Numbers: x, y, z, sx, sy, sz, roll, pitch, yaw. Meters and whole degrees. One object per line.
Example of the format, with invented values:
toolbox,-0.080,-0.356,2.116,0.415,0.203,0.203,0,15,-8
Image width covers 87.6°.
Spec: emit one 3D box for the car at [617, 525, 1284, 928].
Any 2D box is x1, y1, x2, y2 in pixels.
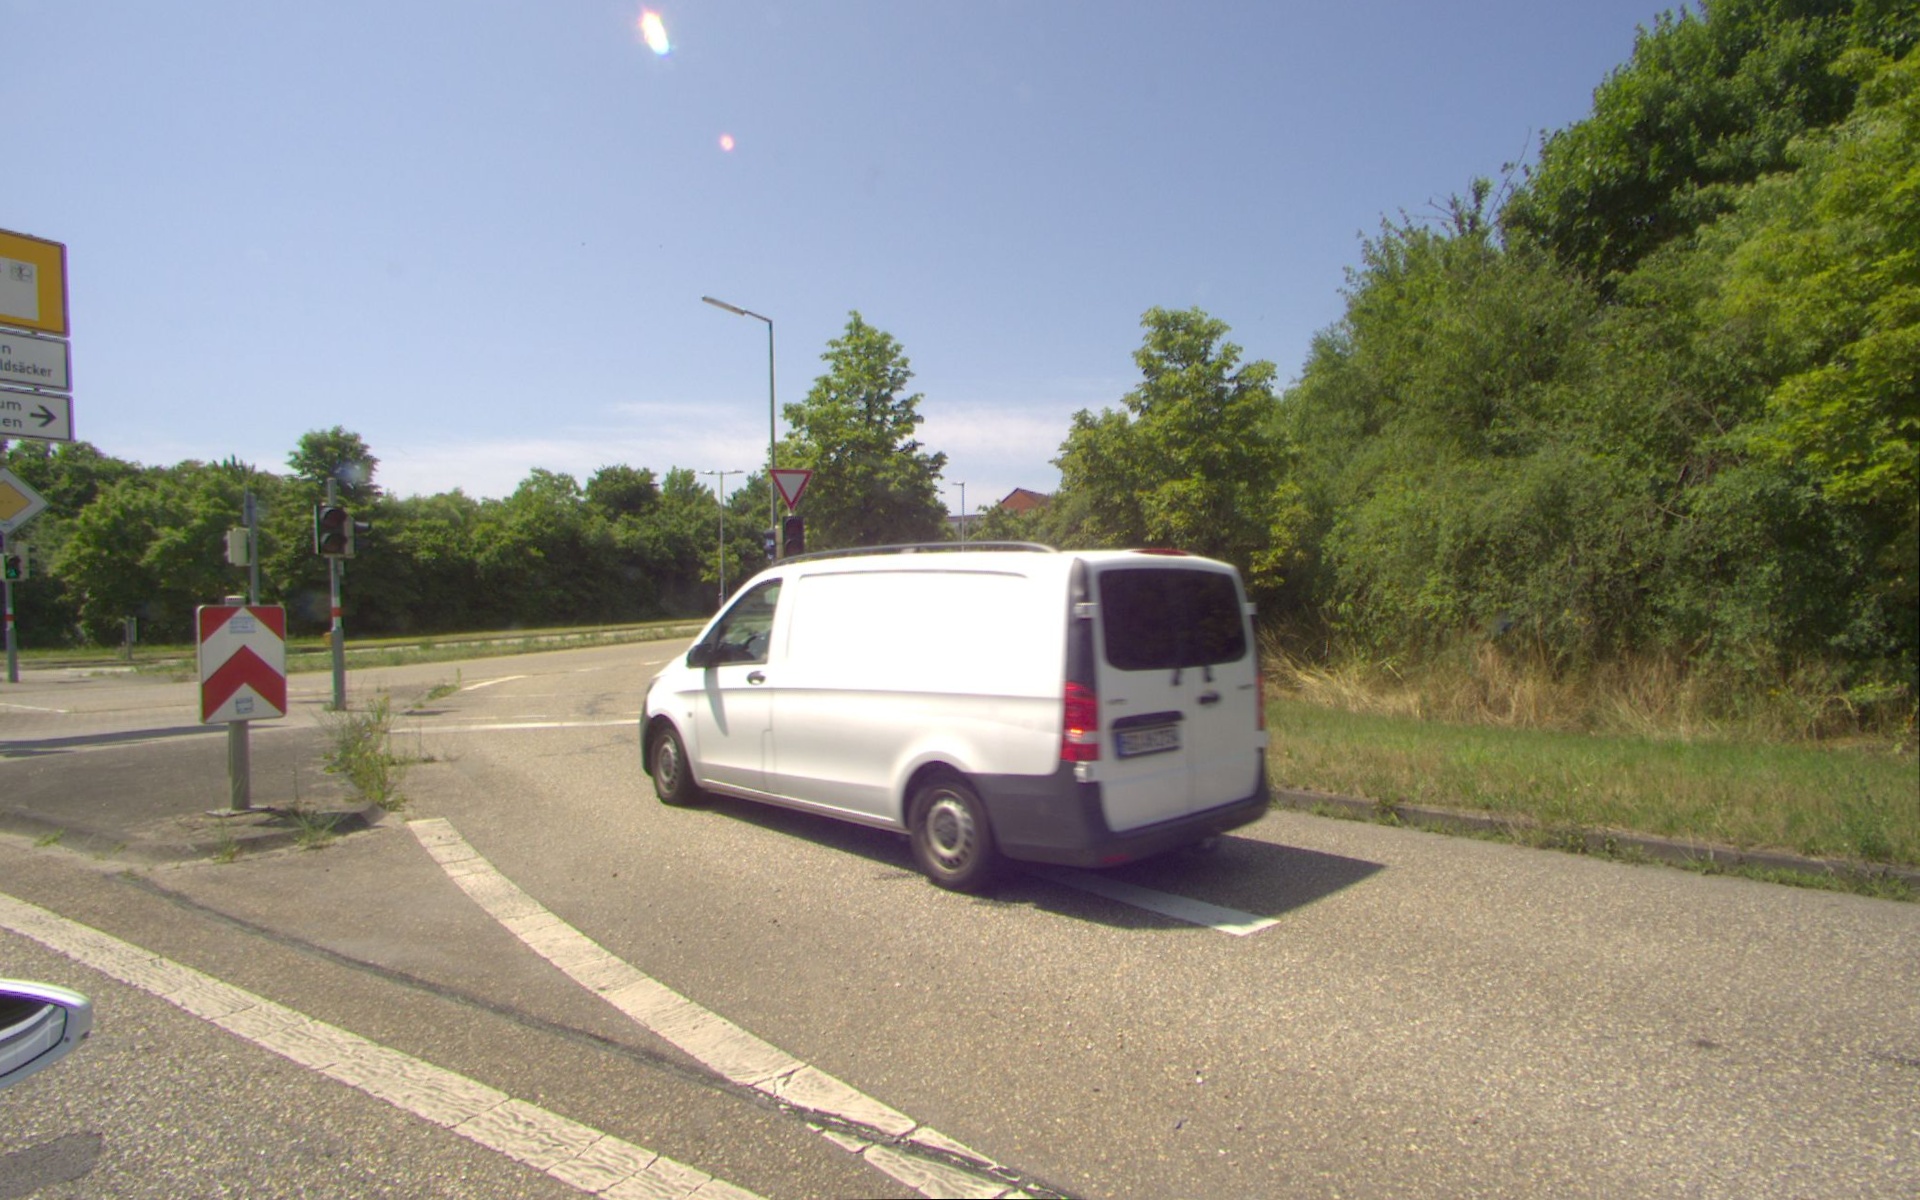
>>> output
car,-0.434,0.606,6.976,1.848,1.842,4.860,0,0,-44
